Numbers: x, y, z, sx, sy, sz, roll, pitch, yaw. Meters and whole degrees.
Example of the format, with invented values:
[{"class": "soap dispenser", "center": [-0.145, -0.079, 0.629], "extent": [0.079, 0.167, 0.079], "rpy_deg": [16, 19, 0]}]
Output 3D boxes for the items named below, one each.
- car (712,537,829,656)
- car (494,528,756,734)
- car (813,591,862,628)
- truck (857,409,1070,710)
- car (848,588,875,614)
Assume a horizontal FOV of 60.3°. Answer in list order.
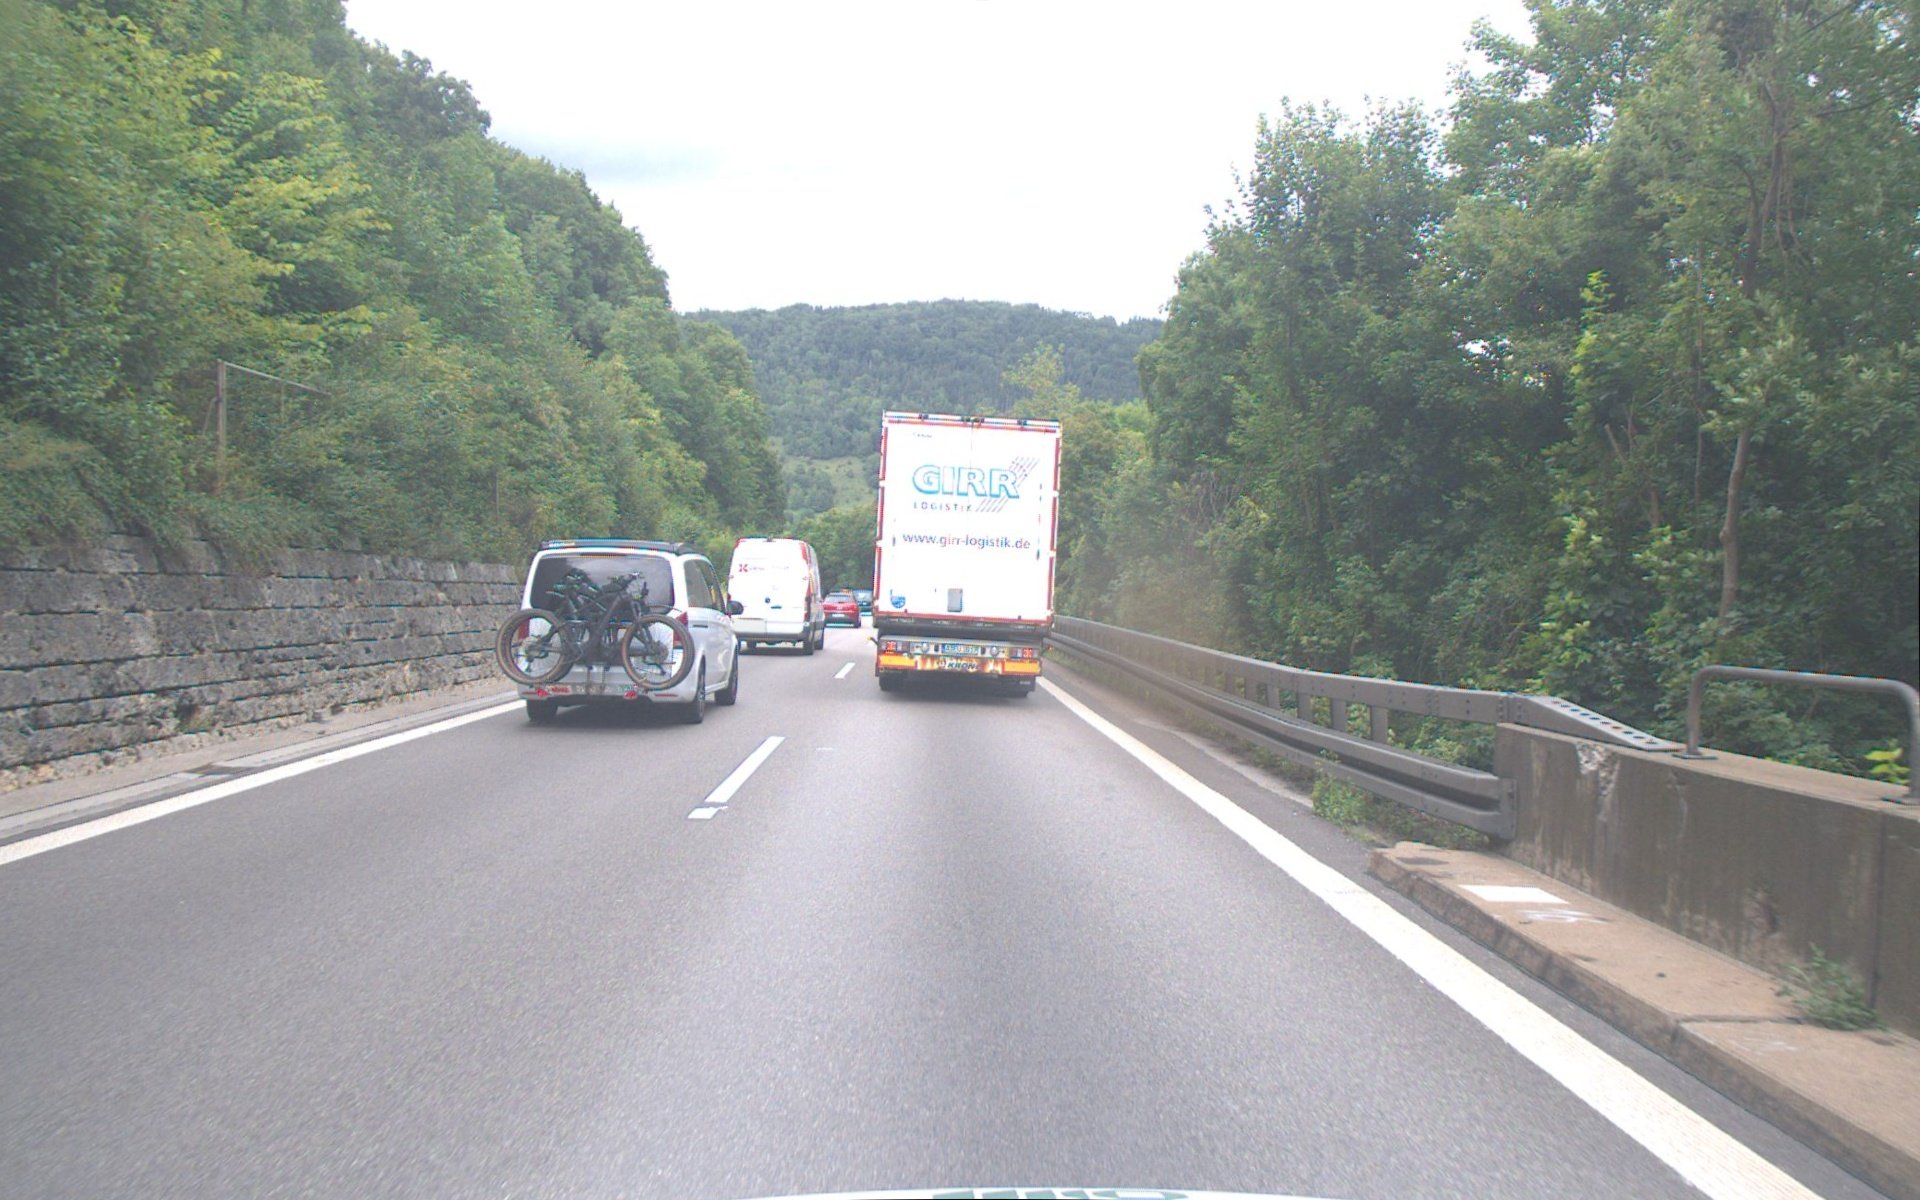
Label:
[{"class": "car", "center": [-4.447, -0.068, 39.733], "extent": [1.984, 2.630, 6.275], "rpy_deg": [0, 0, 1]}, {"class": "car", "center": [-3.662, 0.280, 19.298], "extent": [1.953, 1.987, 6.145], "rpy_deg": [1, 0, -2]}, {"class": "car", "center": [-5.191, 0.399, 70.491], "extent": [1.730, 1.485, 4.411], "rpy_deg": [0, 0, 1]}, {"class": "truck", "center": [-0.014, -0.561, 26.930], "extent": [2.849, 4.030, 9.277], "rpy_deg": [0, 0, -1]}, {"class": "car", "center": [-6.486, 0.061, 109.111], "extent": [1.635, 1.667, 4.067], "rpy_deg": [0, 0, -2]}]
